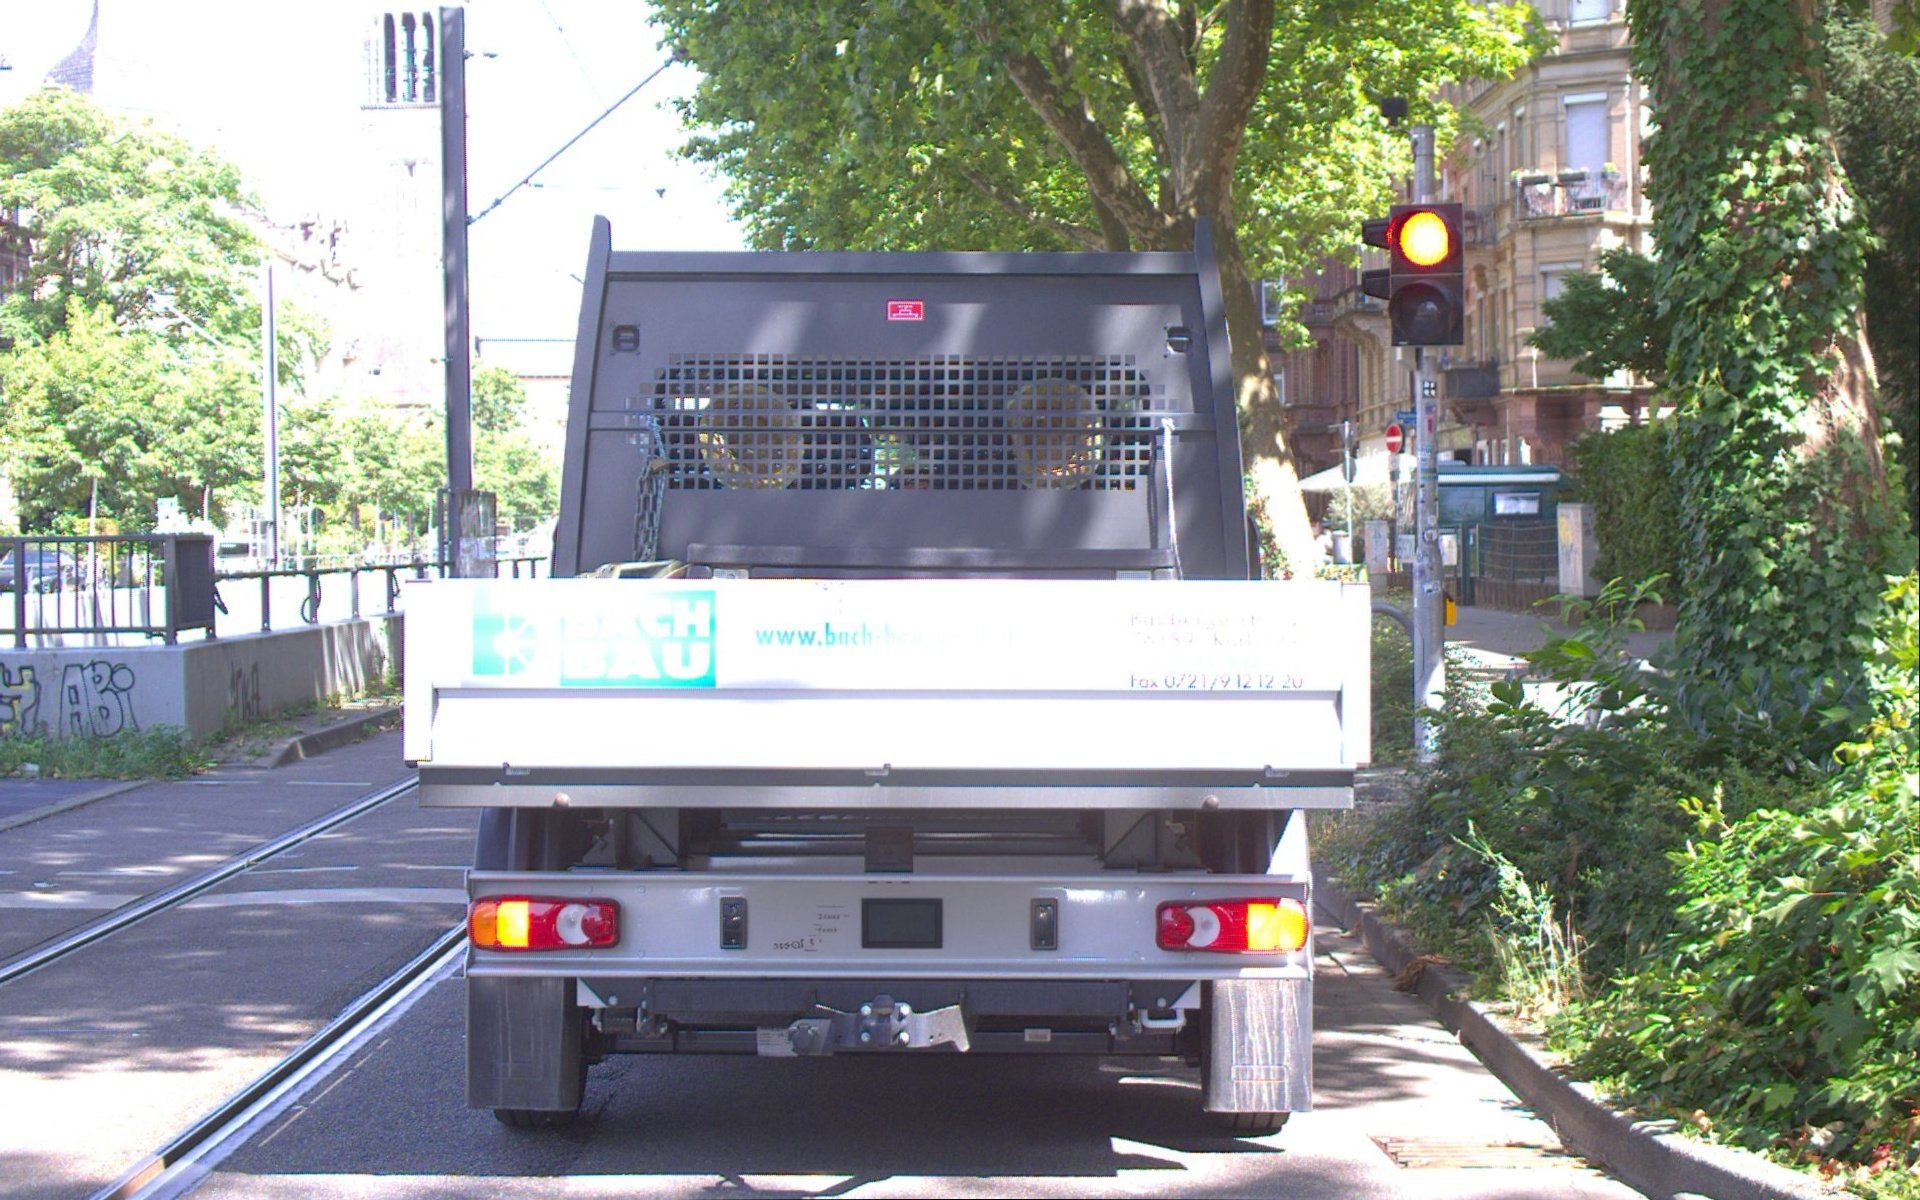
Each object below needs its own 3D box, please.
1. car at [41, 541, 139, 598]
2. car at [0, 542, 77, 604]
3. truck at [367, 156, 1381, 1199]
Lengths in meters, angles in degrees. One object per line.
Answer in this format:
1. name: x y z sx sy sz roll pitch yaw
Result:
1. car: -23.768 -0.840 94.073 1.770 1.493 4.001 -1 1 -2
2. car: -23.503 -0.688 86.237 1.770 1.493 4.001 -1 1 -2
3. truck: -0.170 0.175 9.475 2.138 2.311 4.402 0 1 0
